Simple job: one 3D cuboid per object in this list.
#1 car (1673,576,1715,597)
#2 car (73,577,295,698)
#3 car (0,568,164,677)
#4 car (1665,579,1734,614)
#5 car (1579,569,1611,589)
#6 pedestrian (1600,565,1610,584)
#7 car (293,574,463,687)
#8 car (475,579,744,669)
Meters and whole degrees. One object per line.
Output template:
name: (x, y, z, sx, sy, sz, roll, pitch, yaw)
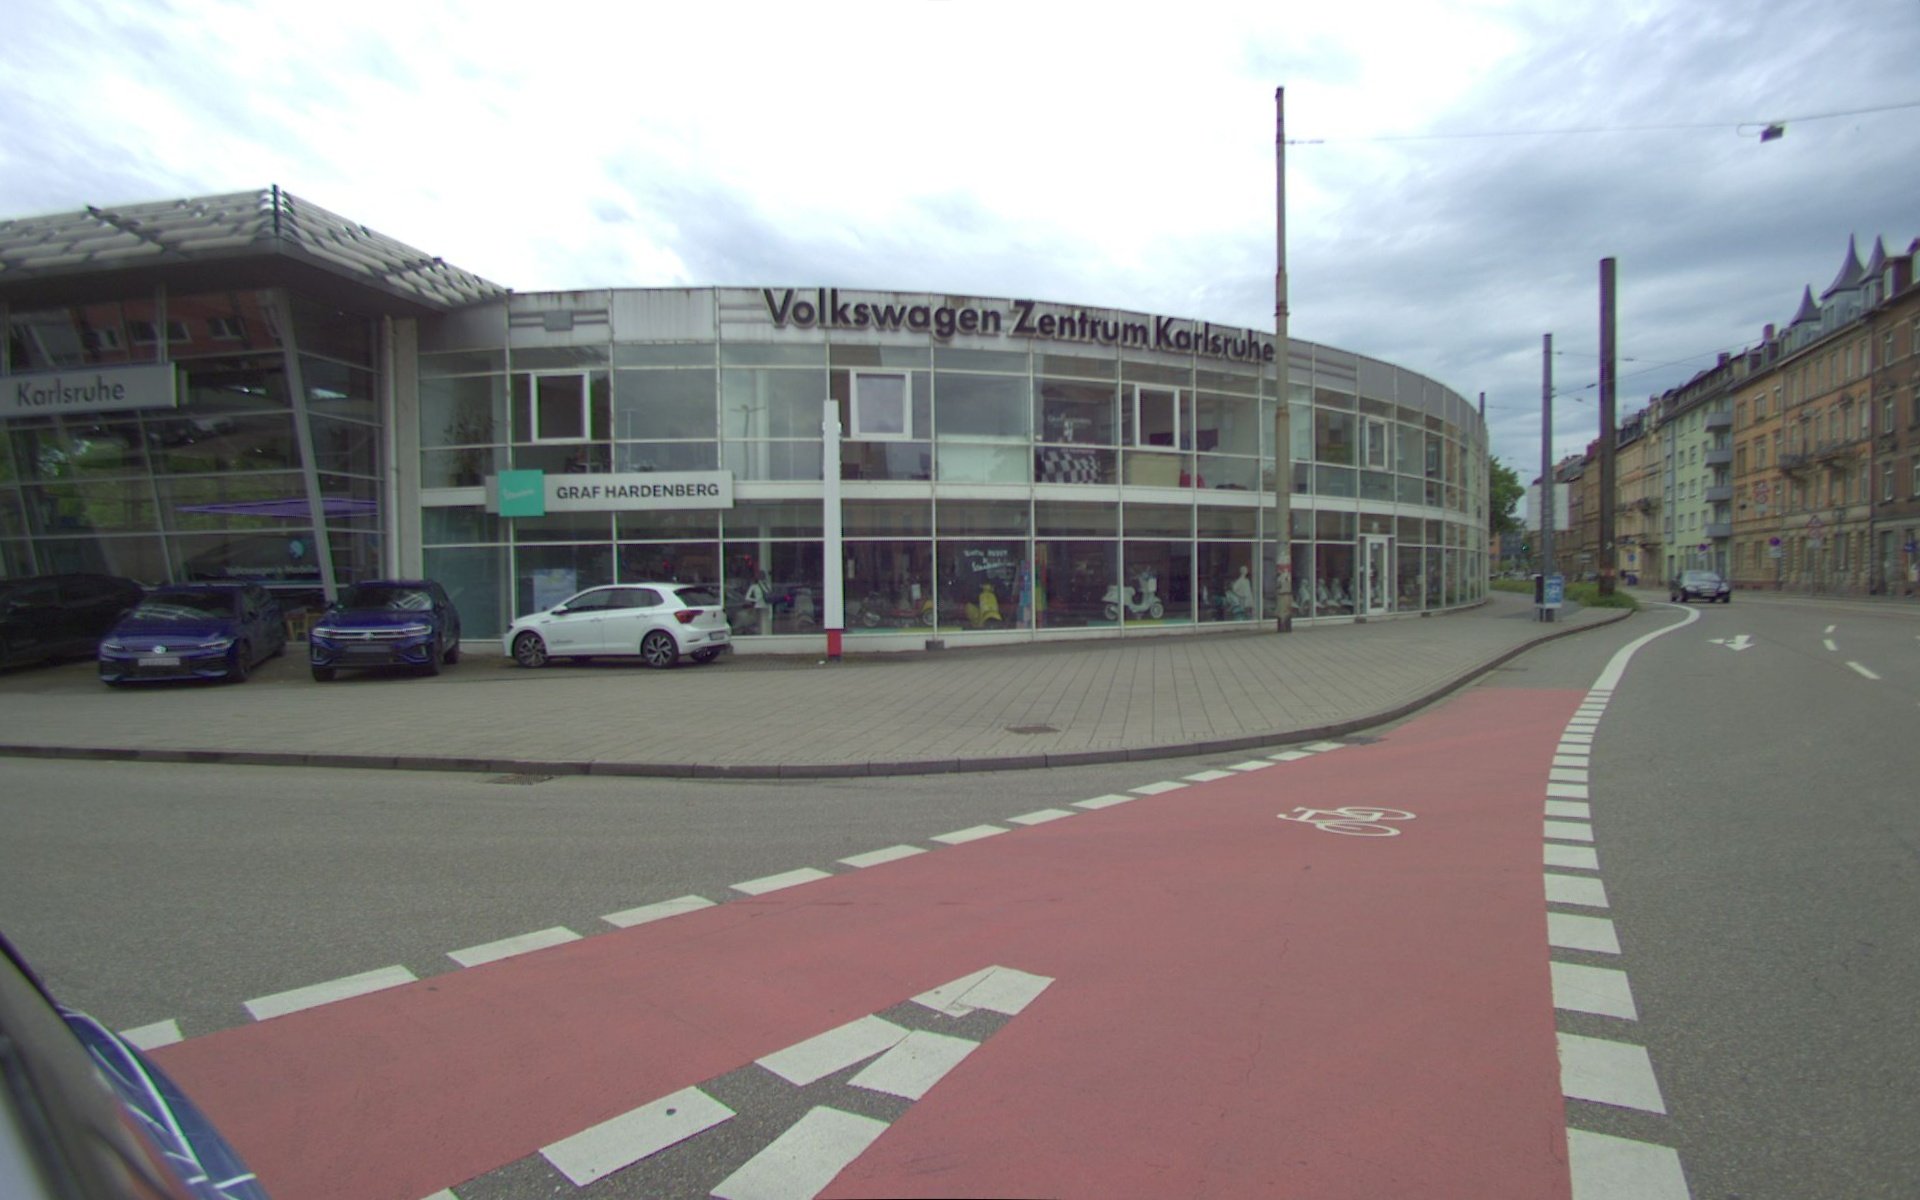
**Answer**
car: (53.282, -0.986, 73.517, 1.844, 1.491, 3.794, -1, 1, 26)
car: (-12.448, 0.475, 16.583, 1.826, 1.515, 4.354, -2, 4, -23)
car: (-16.580, 0.406, 17.430, 1.838, 1.644, 4.504, -2, 4, 5)
car: (32.024, -0.189, 43.917, 1.706, 1.432, 4.034, -1, 1, 26)
car: (56.268, -1.869, 89.726, 1.793, 1.652, 4.196, -1, 1, 24)
pedestrian: (69.168, -2.743, 108.569, 0.806, 2.029, 0.694, -1, 1, 24)
car: (-9.647, 0.387, 17.119, 1.869, 1.574, 4.235, -2, 3, -22)
car: (-6.152, 0.417, 17.901, 4.222, 1.463, 1.775, -1, 1, 14)
